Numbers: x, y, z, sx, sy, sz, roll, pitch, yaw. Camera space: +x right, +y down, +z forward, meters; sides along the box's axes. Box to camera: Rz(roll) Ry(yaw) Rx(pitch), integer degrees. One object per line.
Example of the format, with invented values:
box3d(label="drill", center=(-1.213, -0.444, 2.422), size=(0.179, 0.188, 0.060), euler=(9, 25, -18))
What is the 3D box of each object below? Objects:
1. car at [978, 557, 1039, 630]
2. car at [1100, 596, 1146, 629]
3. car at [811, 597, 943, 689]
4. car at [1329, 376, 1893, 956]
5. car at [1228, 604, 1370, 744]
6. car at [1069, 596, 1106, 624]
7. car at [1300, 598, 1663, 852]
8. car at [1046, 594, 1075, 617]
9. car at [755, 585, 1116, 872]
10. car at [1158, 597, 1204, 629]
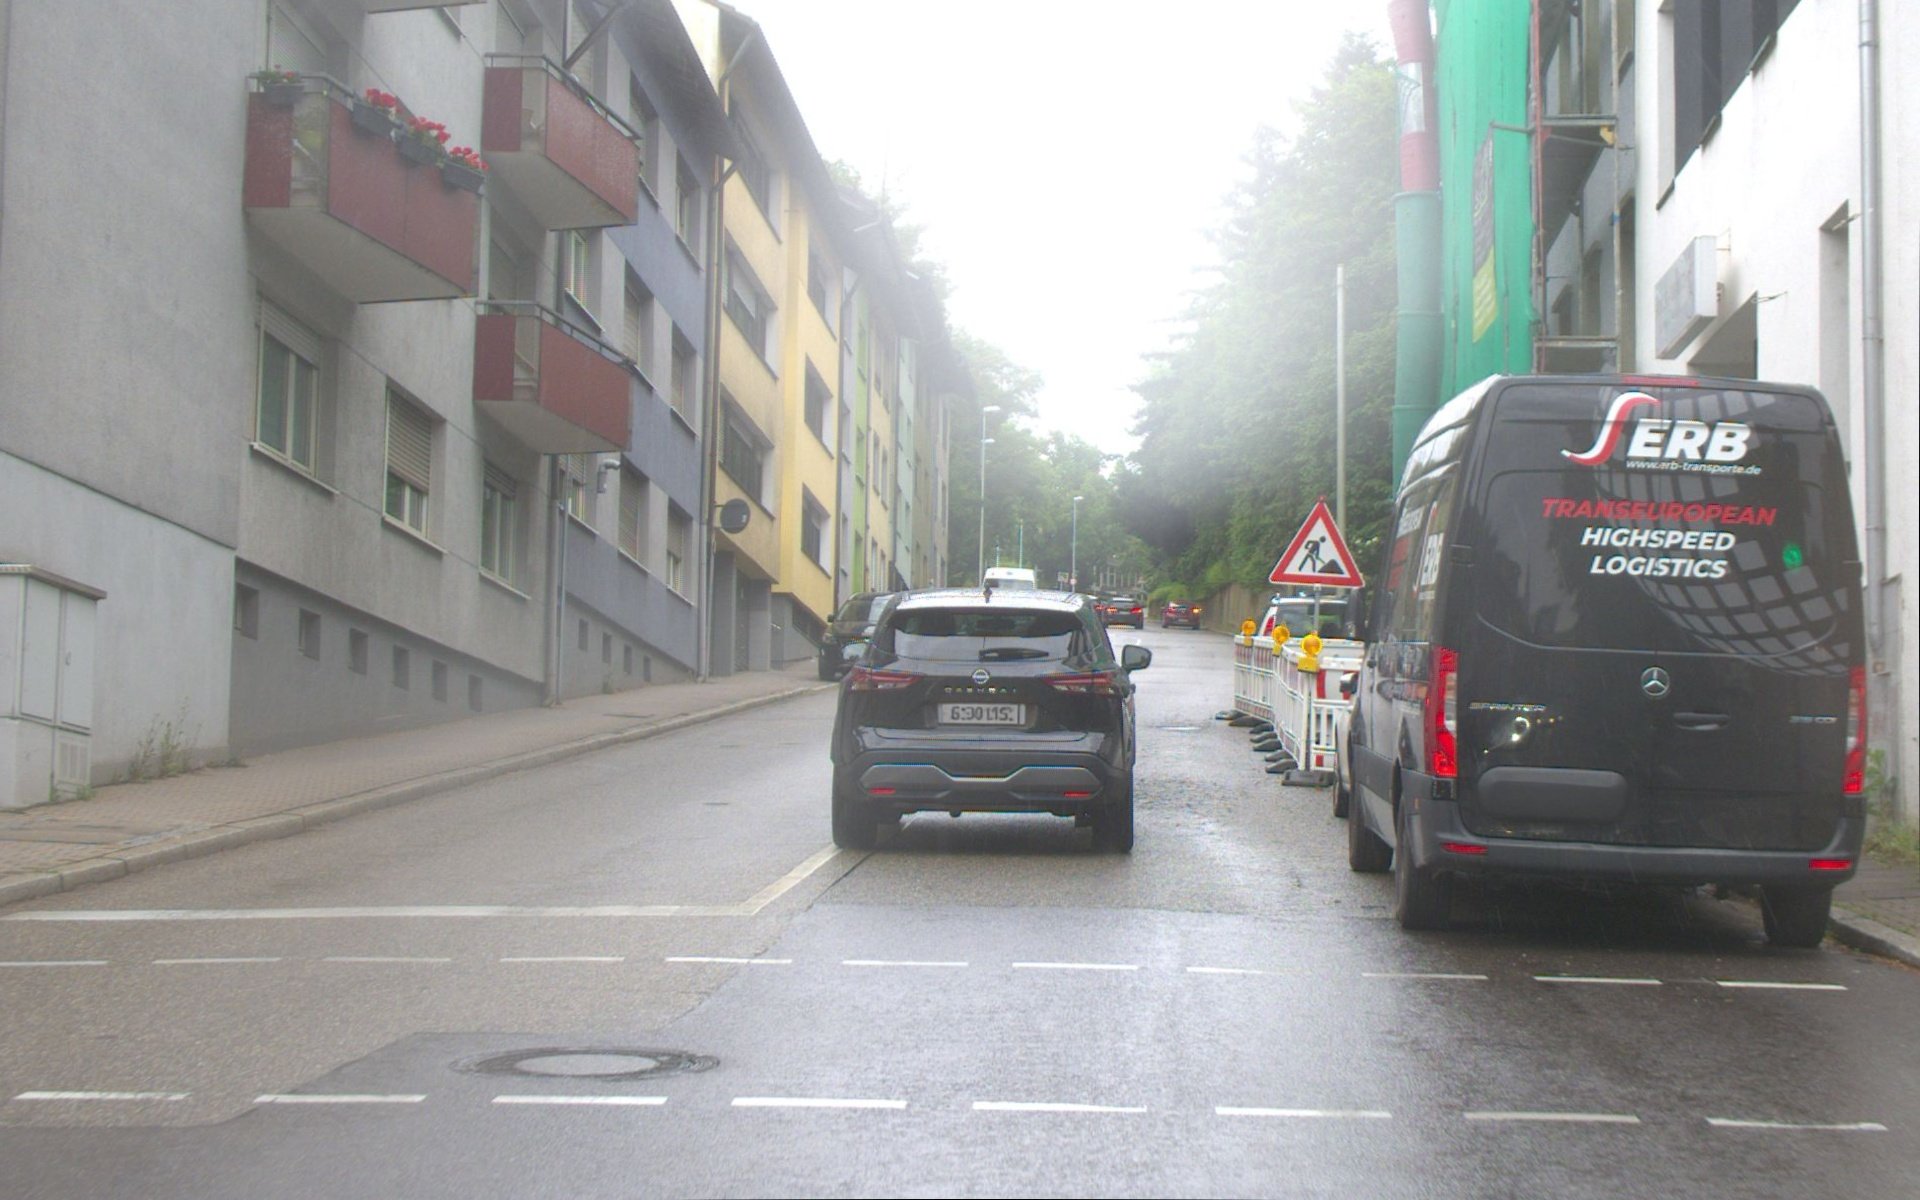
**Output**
box3d(label="car", center=(1.726, -0.241, 121.131), size=(1.990, 2.466, 5.784), euler=(1, 0, 2))
box3d(label="car", center=(7.824, 0.588, 164.986), size=(2.074, 1.554, 4.000), euler=(1, 0, 2))
box3d(label="car", center=(-1.546, 0.791, 65.554), size=(1.994, 1.644, 4.440), euler=(1, 0, 5))
box3d(label="car", center=(3.096, 0.383, 17.613), size=(1.994, 2.406, 5.835), euler=(2, -2, 3))
box3d(label="car", center=(4.700, 0.993, 48.068), size=(1.640, 1.756, 4.000), euler=(2, 1, 2))
box3d(label="car", center=(7.262, 0.562, 195.635), size=(2.074, 1.554, 4.000), euler=(1, 0, 2))
box3d(label="car", center=(3.467, 0.799, 23.617), size=(1.994, 1.507, 4.336), euler=(2, -1, 3))
box3d(label="car", center=(7.305, 0.396, 249.387), size=(2.074, 1.554, 4.000), euler=(1, 0, 2))
box3d(label="car", center=(-0.052, 0.728, 21.779), size=(1.994, 1.554, 4.000), euler=(2, 1, 3))
box3d(label="car", center=(11.189, 0.672, 174.257), size=(2.074, 1.554, 4.000), euler=(1, 0, 0))
